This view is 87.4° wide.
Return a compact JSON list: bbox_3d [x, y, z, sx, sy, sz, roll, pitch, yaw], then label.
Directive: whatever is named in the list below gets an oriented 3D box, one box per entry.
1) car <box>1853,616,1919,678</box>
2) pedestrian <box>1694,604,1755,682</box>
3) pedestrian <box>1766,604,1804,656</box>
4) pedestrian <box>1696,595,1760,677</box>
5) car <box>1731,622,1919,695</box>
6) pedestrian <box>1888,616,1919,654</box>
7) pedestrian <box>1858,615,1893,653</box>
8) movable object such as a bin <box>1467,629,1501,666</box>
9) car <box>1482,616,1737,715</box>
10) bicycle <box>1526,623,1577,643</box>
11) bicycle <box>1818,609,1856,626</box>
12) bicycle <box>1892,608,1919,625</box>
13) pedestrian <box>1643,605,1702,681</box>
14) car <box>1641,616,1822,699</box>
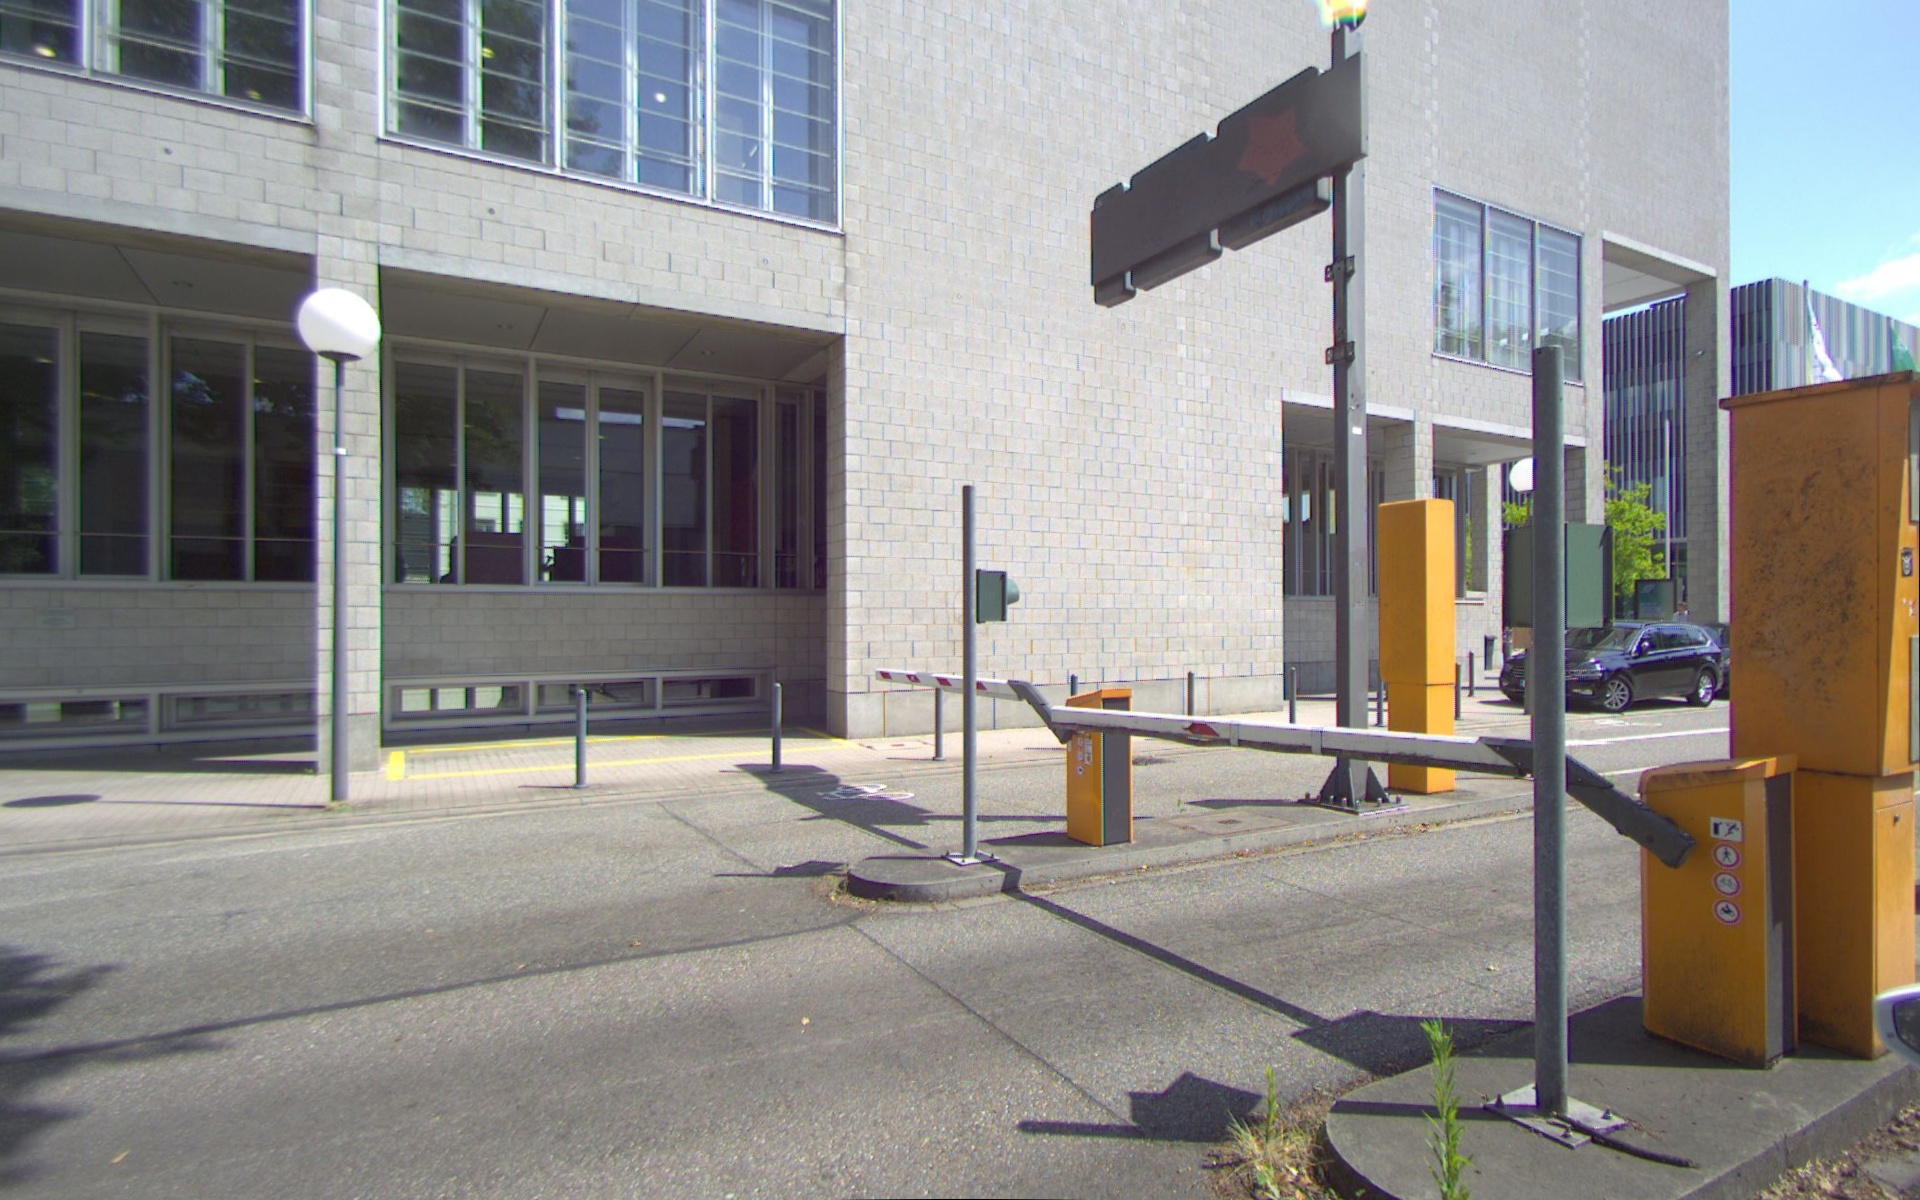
[{"bbox_3d":[25.593,1.198,26.490,4.144,1.487,1.741,0,1,-28],"label":"car"},{"bbox_3d":[20.577,1.143,27.047,1.152,2.040,0.978,0,-1,-34],"label":"pedestrian"},{"bbox_3d":[30.245,1.078,36.825,1.074,1.876,0.717,0,1,-26],"label":"pedestrian"},{"bbox_3d":[19.800,0.910,25.897,1.152,2.040,0.978,0,-1,-34],"label":"pedestrian"},{"bbox_3d":[19.789,1.250,22.719,4.953,1.396,1.852,0,1,-28],"label":"car"},{"bbox_3d":[46.633,1.714,49.439,1.075,1.843,0.863,0,-1,-6],"label":"pedestrian"},{"bbox_3d":[46.535,1.705,51.042,0.987,1.901,0.854,0,-1,-7],"label":"pedestrian"},{"bbox_3d":[14.004,1.266,26.848,0.588,0.942,0.573,0,0,-29],"label":"movable object such as a bin"},{"bbox_3d":[11.466,1.056,17.671,4.662,1.487,1.850,0,1,-30],"label":"car"},{"bbox_3d":[34.808,1.936,59.110,0.657,1.128,2.595,0,-1,-31],"label":"bicycle"},{"bbox_3d":[67.911,1.338,77.798,1.351,1.254,2.949,0,-1,24],"label":"bicycle"},{"bbox_3d":[71.898,1.277,75.985,1.178,1.254,2.949,0,-1,24],"label":"bicycle"},{"bbox_3d":[19.774,1.172,27.892,1.152,2.040,0.978,0,-1,-34],"label":"pedestrian"},{"bbox_3d":[15.660,1.107,20.365,3.663,1.487,1.631,0,1,-30],"label":"car"}]
